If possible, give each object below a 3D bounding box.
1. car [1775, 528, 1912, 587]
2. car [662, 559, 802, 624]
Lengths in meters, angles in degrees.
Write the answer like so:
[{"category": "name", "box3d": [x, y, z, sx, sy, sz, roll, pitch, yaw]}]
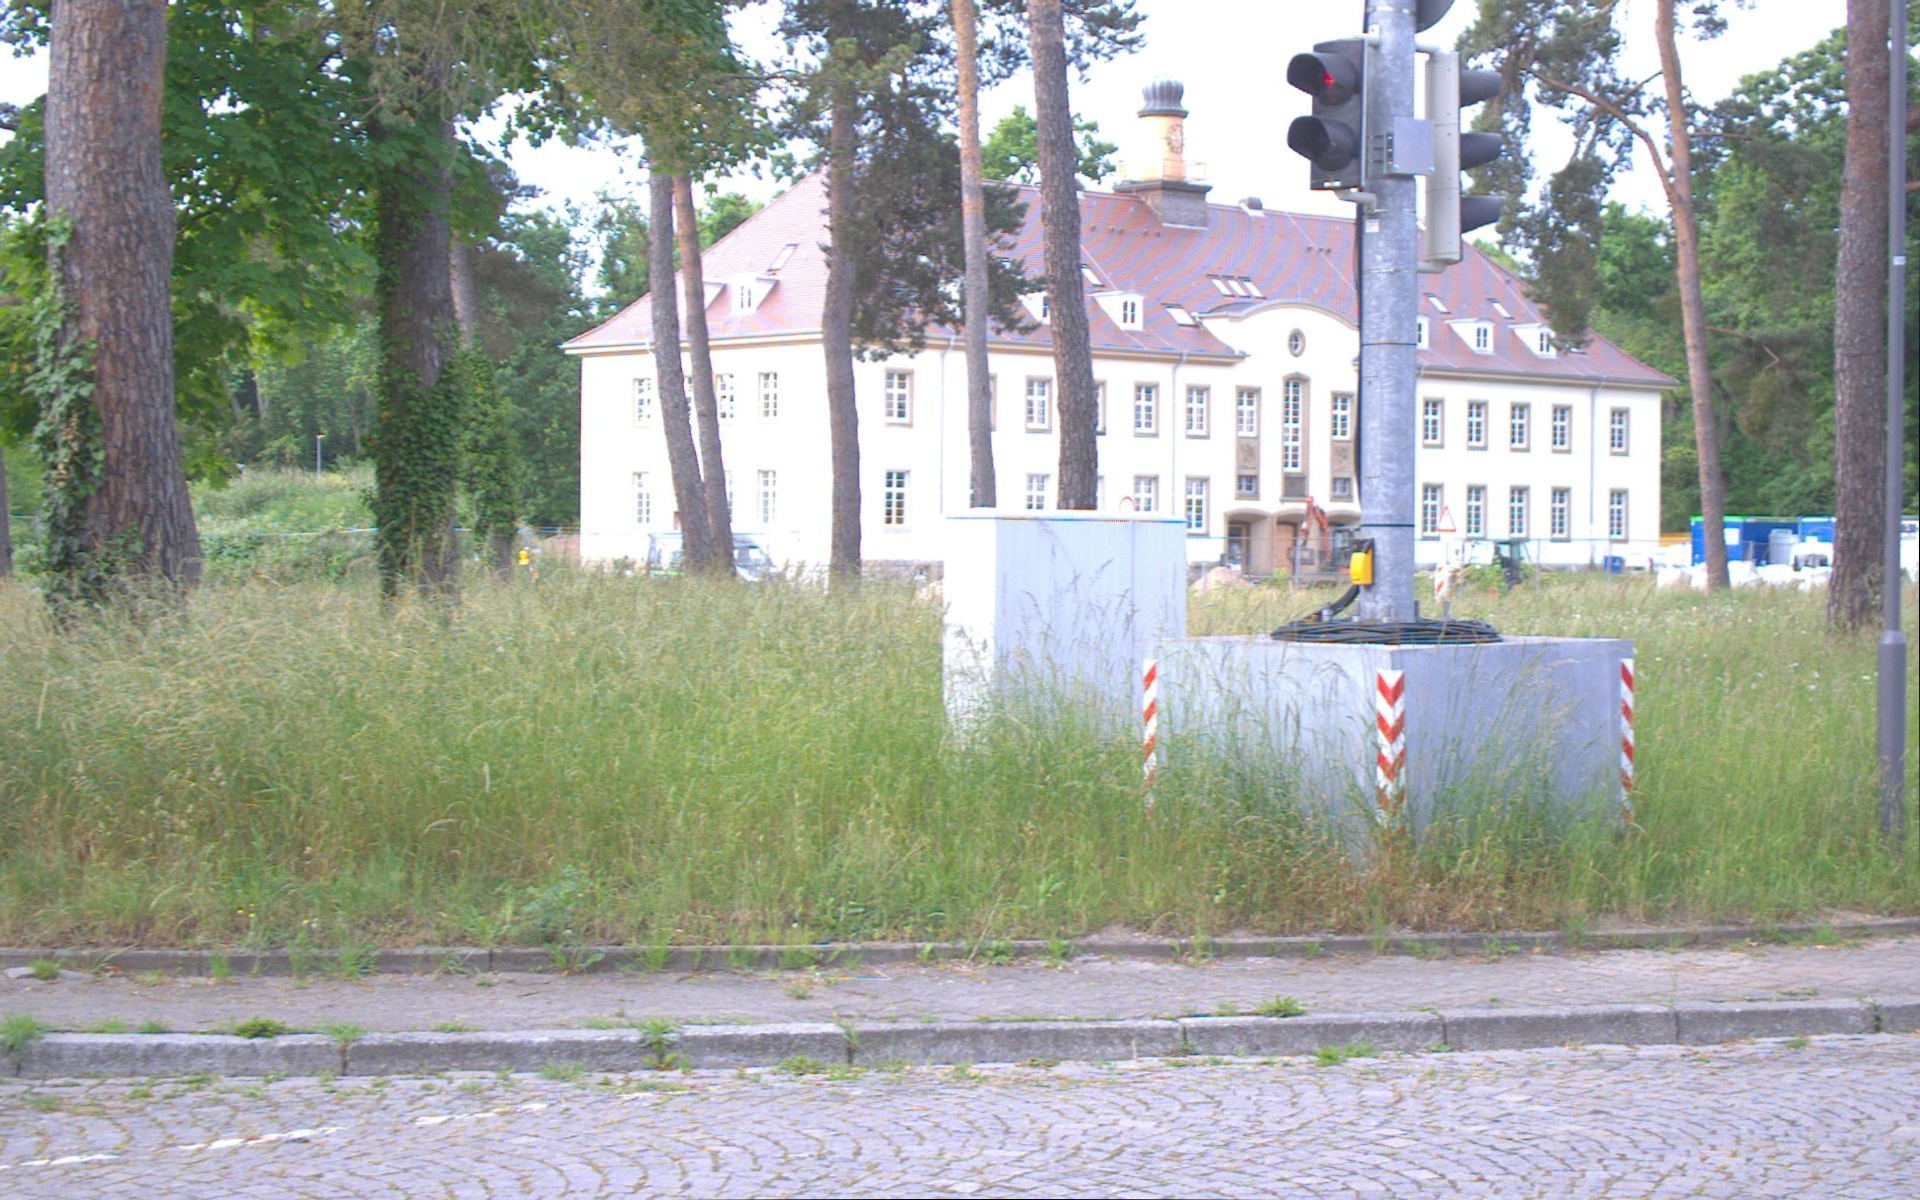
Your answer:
[{"category": "car", "box3d": [31.536, -1.502, 122.595, 5.214, 2.007, 1.999, 0, 0, -39]}, {"category": "car", "box3d": [-8.159, -0.327, 122.793, 5.034, 2.192, 1.995, 1, 1, 41]}]
